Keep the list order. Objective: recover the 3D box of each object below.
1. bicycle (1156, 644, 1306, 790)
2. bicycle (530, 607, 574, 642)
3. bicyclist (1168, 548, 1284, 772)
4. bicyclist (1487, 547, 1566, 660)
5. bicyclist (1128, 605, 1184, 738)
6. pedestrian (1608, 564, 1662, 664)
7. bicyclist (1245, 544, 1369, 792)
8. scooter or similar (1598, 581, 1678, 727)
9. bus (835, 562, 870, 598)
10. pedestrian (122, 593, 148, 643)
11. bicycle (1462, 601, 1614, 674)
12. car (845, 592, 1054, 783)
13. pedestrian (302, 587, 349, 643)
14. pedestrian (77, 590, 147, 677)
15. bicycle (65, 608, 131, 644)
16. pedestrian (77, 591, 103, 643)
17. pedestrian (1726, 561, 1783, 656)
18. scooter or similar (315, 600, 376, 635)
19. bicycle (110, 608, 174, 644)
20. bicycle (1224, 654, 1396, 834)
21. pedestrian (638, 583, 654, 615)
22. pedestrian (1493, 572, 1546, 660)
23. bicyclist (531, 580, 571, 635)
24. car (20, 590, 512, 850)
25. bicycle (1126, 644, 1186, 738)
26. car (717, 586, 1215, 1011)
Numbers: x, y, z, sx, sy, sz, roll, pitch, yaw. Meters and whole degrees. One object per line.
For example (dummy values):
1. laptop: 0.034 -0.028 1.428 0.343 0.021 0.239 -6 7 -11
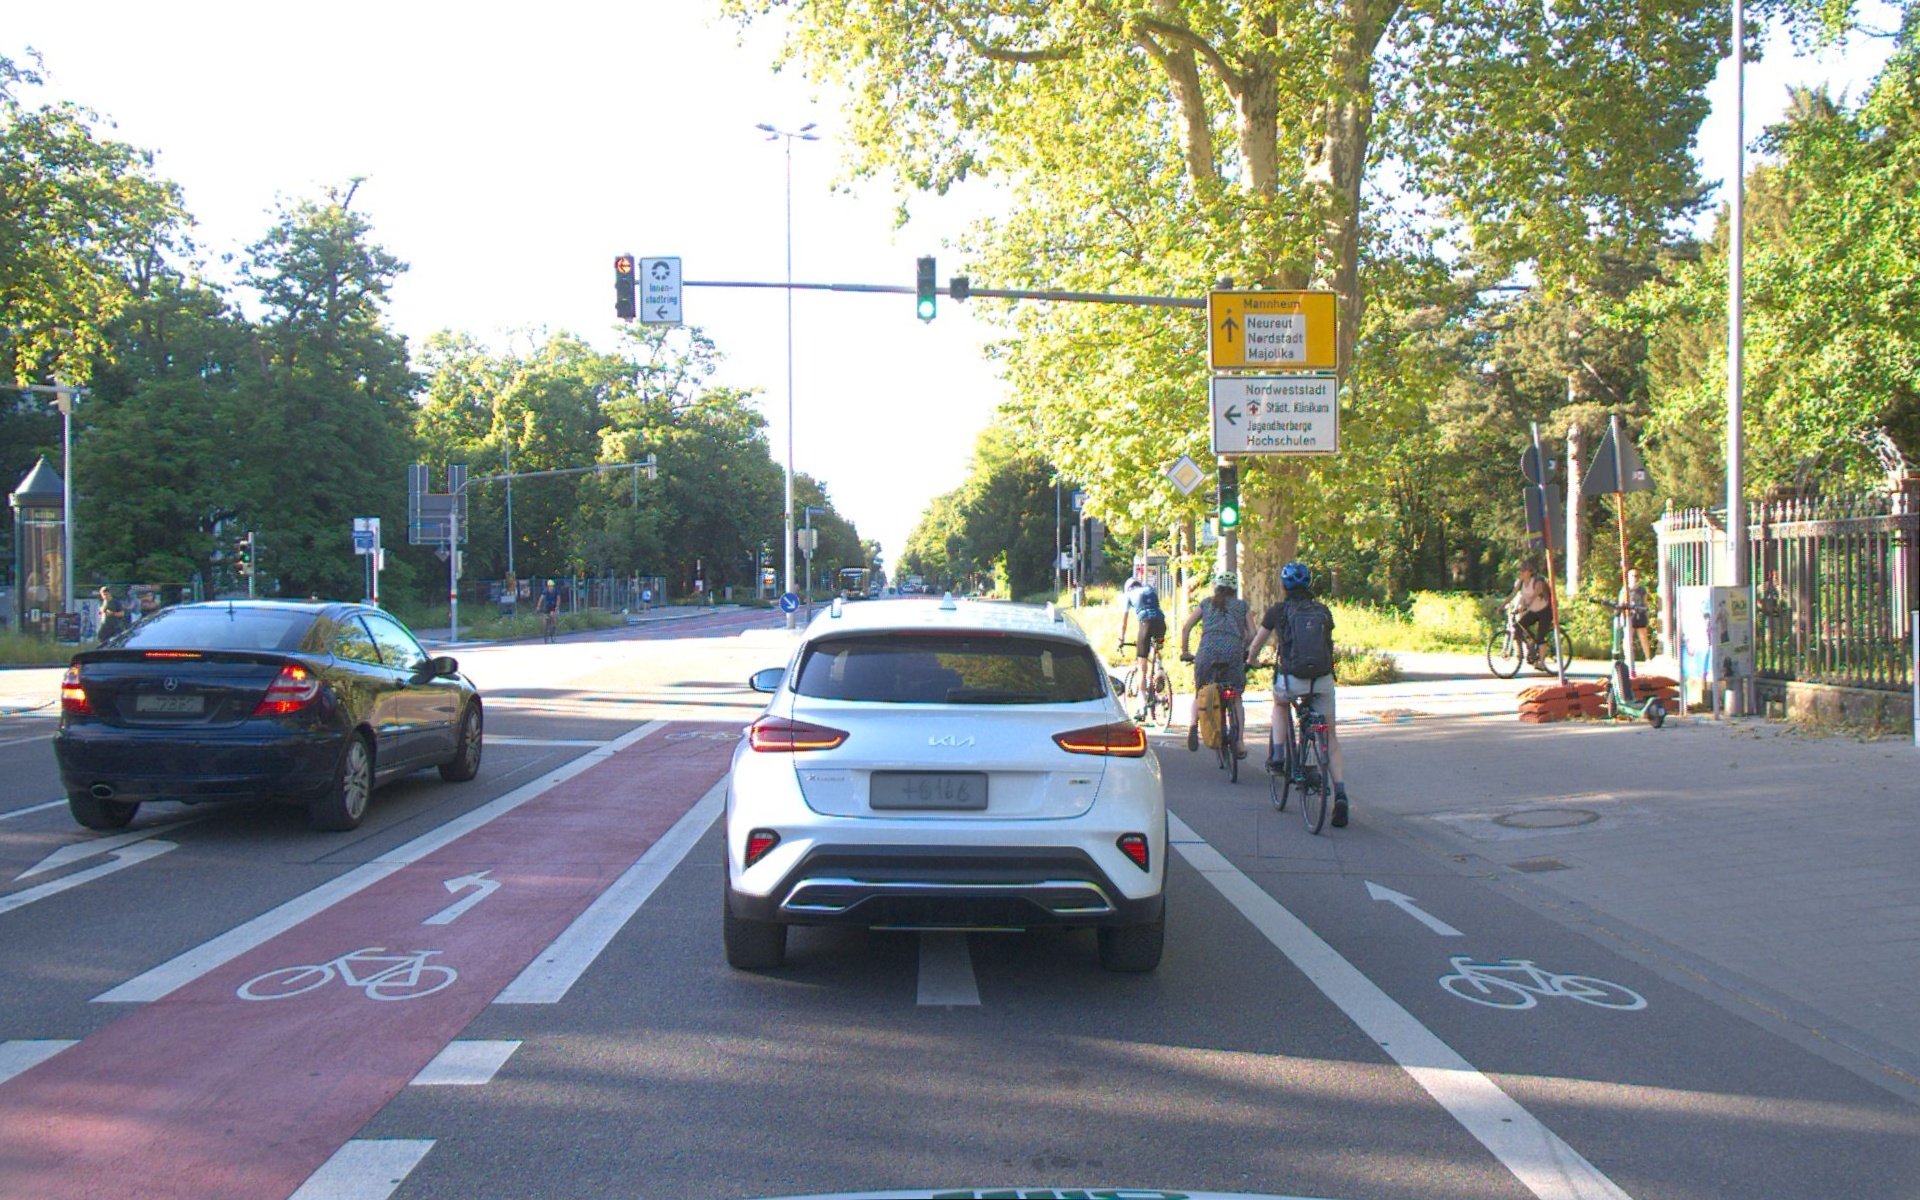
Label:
1. bicycle: 2.256 0.943 14.118 0.742 1.031 2.568 1 0 -2
2. bicycle: -12.500 0.732 50.731 0.650 1.006 2.504 -1 1 1
3. bicyclist: 2.262 0.491 14.188 0.738 1.827 1.164 1 0 -2
4. bicyclist: 8.441 0.044 24.667 0.832 1.641 0.733 -2 0 -13
5. bicyclist: 2.257 0.810 19.104 0.543 1.504 0.716 0 0 -1
6. pedestrian: 11.822 0.237 28.967 0.675 1.729 0.644 0 0 -1
7. bicyclist: 2.352 0.447 11.273 0.652 1.630 0.720 1 0 -2
8. scooter or similar: 6.507 0.491 15.911 0.223 1.350 1.171 -1 0 -2
9. bus: -11.775 -2.201 181.311 3.667 3.737 13.230 -1 1 -4
10. pedestrian: -26.636 0.593 53.413 0.617 1.608 0.444 0 0 -11
11. bicycle: 8.640 0.547 24.724 2.057 0.993 0.748 -2 1 -14
12. car: -0.157 0.711 15.365 1.694 1.509 3.515 -1 1 -3
13. pedestrian: -18.980 0.441 49.478 1.067 1.631 0.999 -1 0 -7
14. pedestrian: -20.312 0.800 39.639 0.974 2.049 1.191 0 0 4
15. bicycle: -28.009 0.845 53.741 1.826 1.168 0.442 0 0 -8
16. pedestrian: -28.147 0.557 53.535 0.617 1.671 0.444 0 0 -11
17. pedestrian: 14.579 0.152 30.358 0.808 1.711 0.694 0 0 13
18. scooter or similar: -20.755 0.587 55.907 0.697 1.144 1.916 0 0 32
19. bicycle: -26.463 0.843 53.519 1.826 1.168 0.290 0 0 -8
20. bicycle: 2.342 0.929 11.318 0.655 1.027 2.080 1 0 -2
21. pedestrian: -17.994 -0.074 94.710 0.769 1.817 0.751 0 0 0
22. pedestrian: 10.117 0.283 29.911 0.802 1.544 0.915 0 0 25
23. bicyclist: -12.513 0.229 50.643 0.857 1.636 1.188 -1 0 1
24. car: -4.547 0.673 11.597 1.670 1.429 4.264 -1 1 -1
25. bicycle: 2.240 1.021 19.007 0.393 0.973 1.550 -3 0 -2
26. car: -0.045 0.690 7.888 1.785 1.506 3.934 0 1 -2
